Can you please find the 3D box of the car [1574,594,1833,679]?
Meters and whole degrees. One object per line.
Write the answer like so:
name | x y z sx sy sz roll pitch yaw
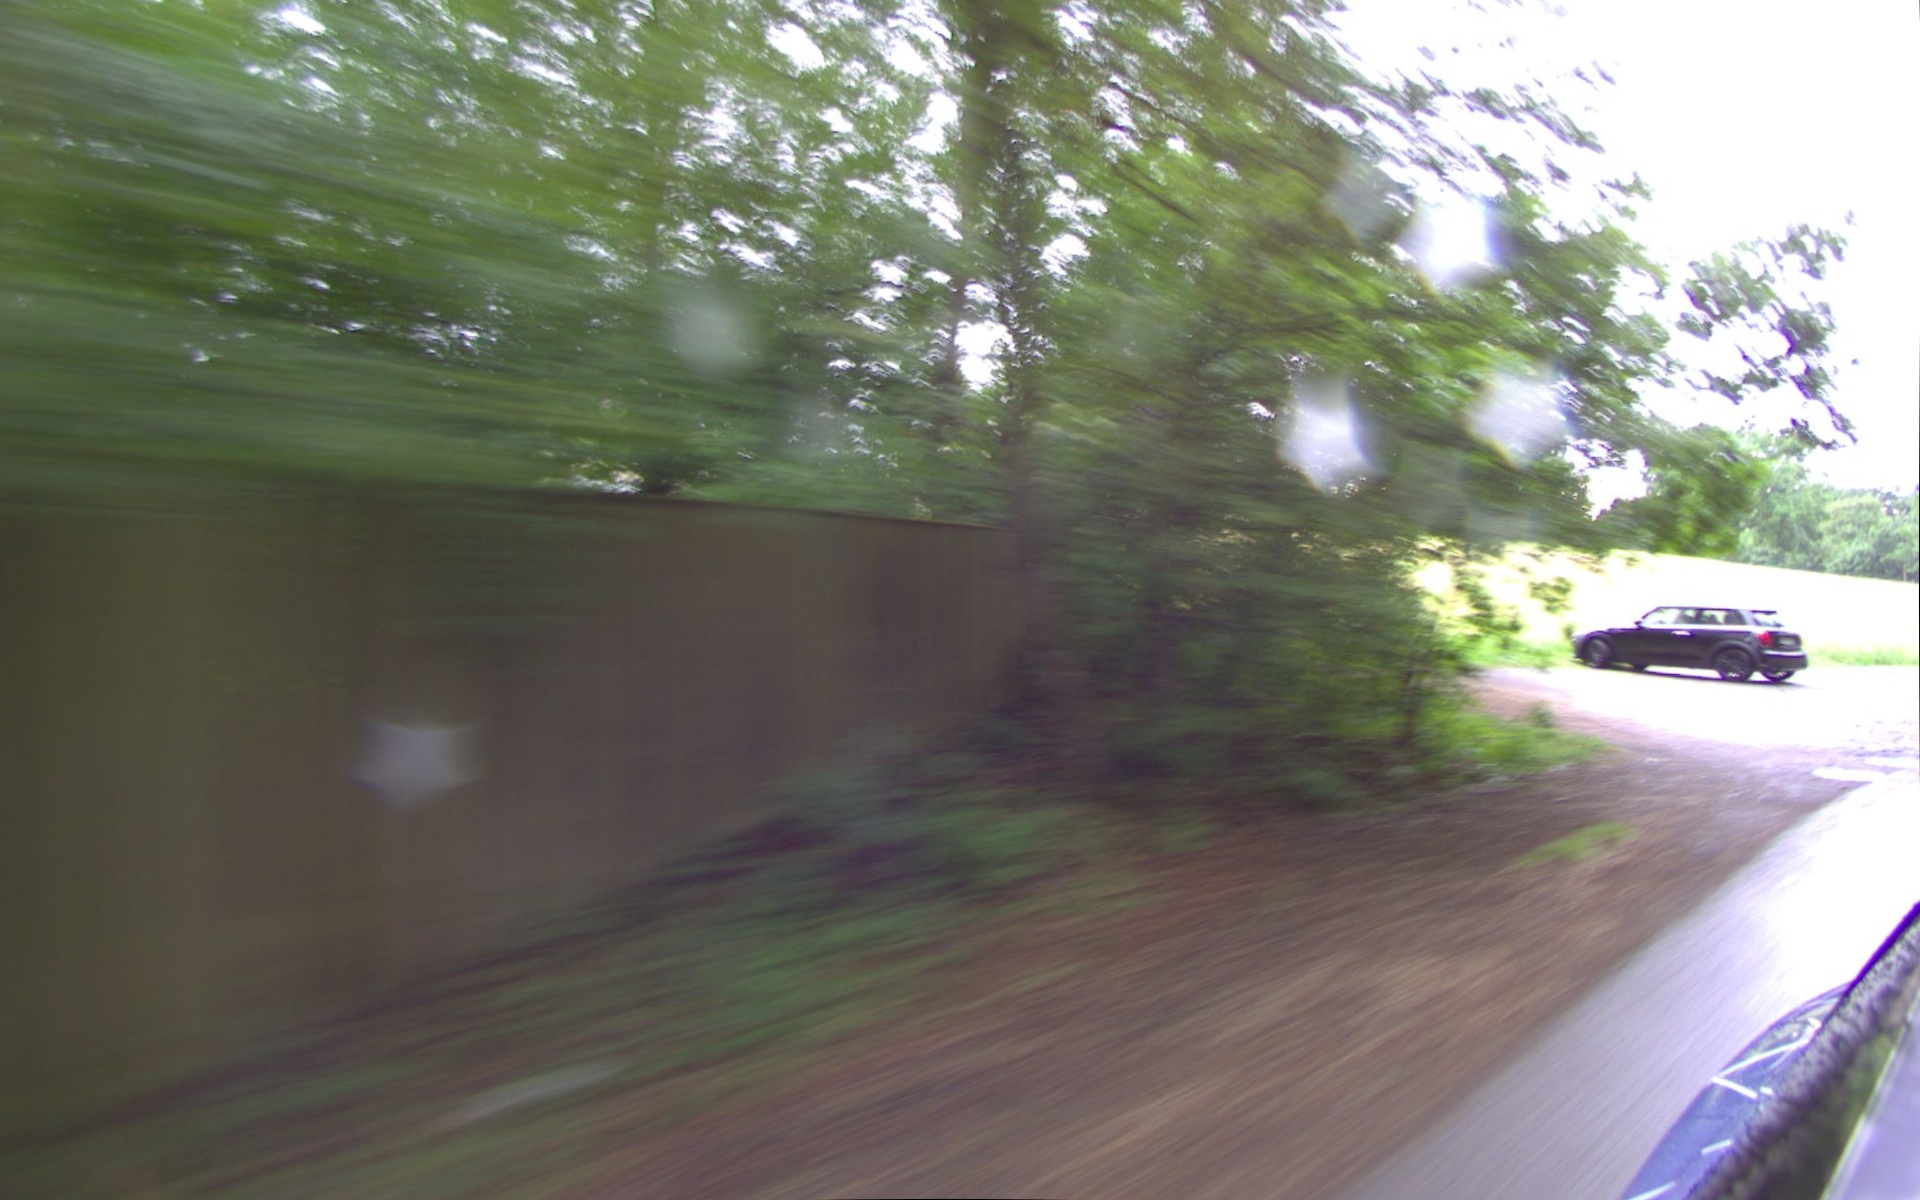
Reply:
car | 14.329 0.632 19.737 1.672 1.454 3.725 0 0 -27
